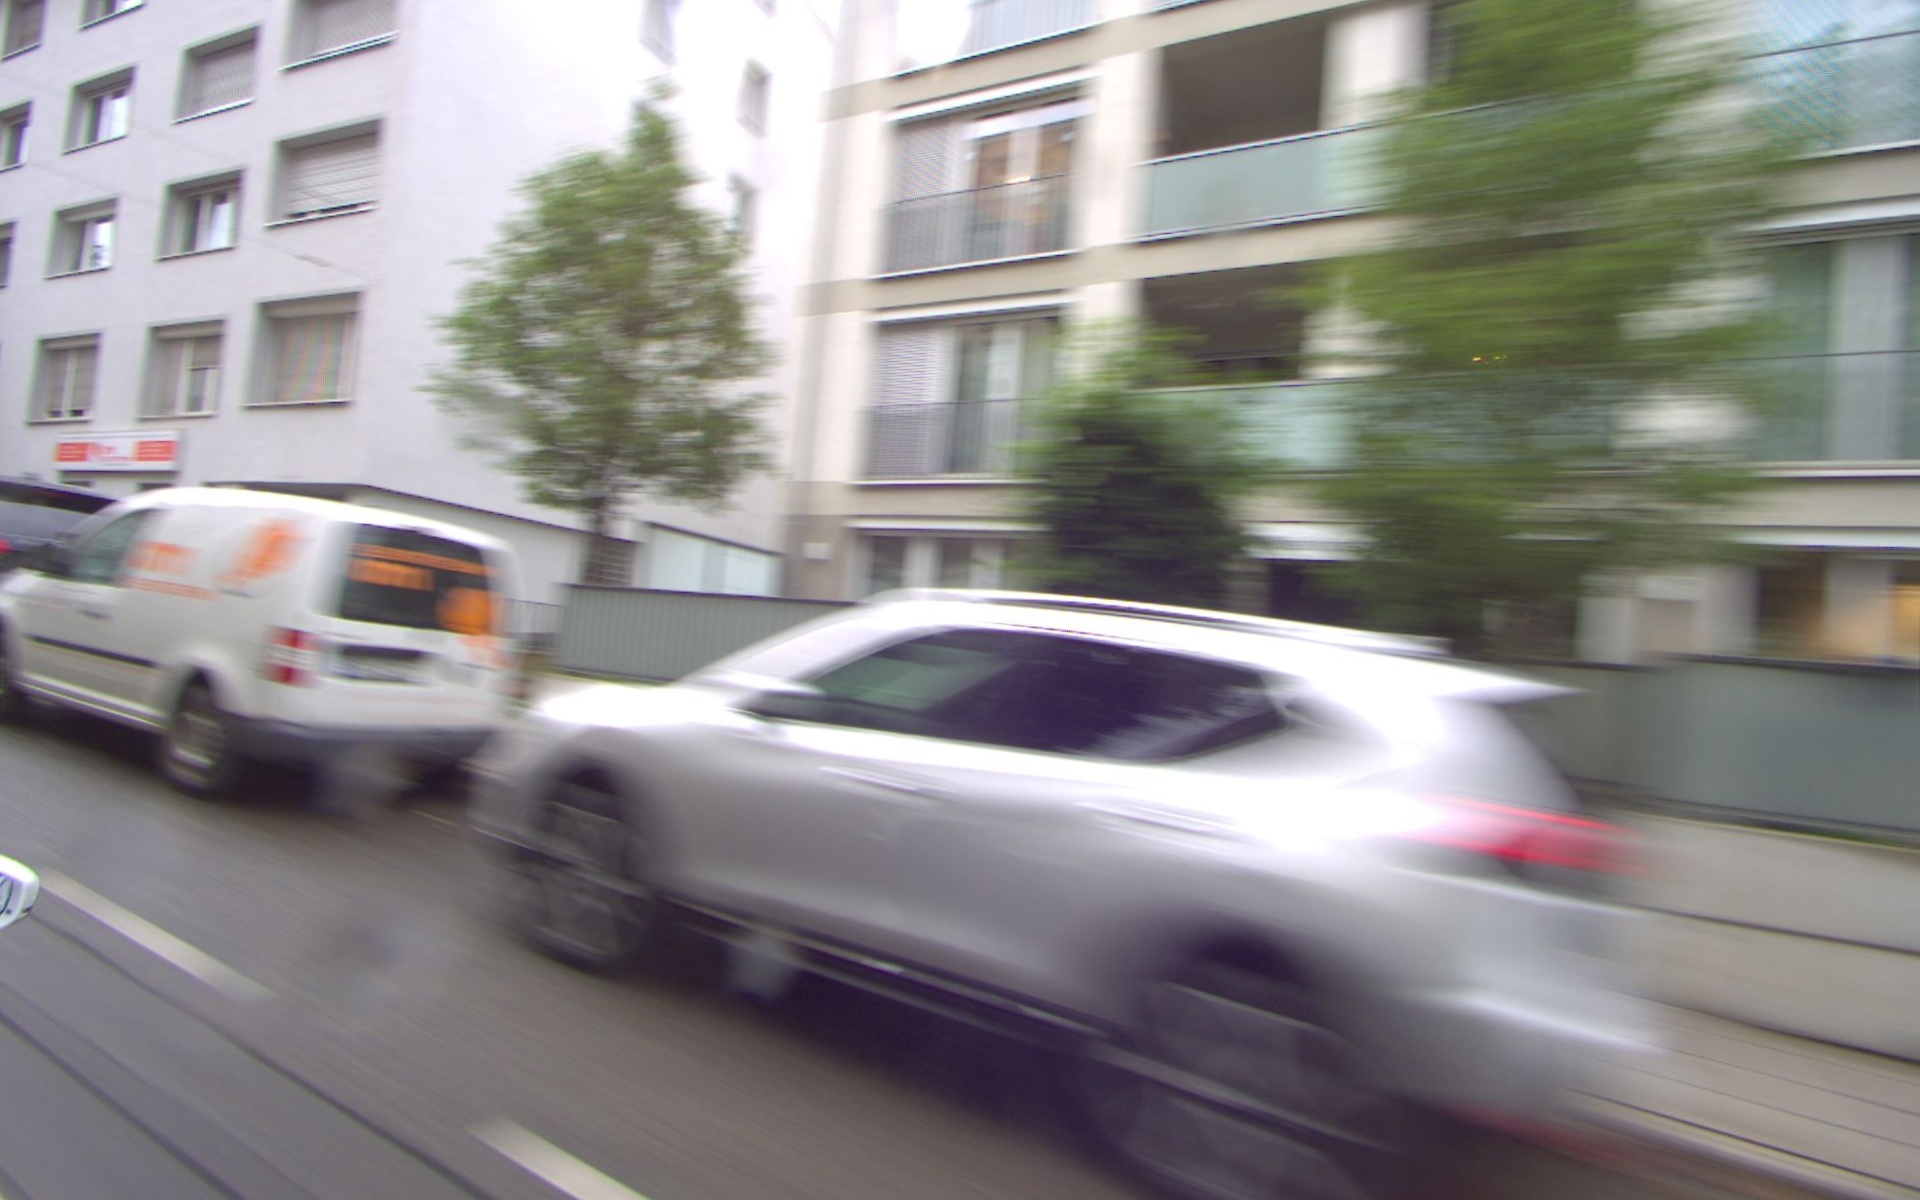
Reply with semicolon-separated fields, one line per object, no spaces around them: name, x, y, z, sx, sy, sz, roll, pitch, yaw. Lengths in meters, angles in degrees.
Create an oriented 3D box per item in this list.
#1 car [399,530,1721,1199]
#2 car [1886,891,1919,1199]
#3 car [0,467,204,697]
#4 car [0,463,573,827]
car;0.053;0.855;4.206;4.606;1.674;1.838;7;-3;28
car;4.691;1.395;1.384;4.582;1.646;1.838;7;-3;27
car;-9.713;-0.356;9.536;4.735;1.814;1.950;7;-3;26
car;-5.157;0.194;7.185;4.392;1.814;1.785;7;-3;27
